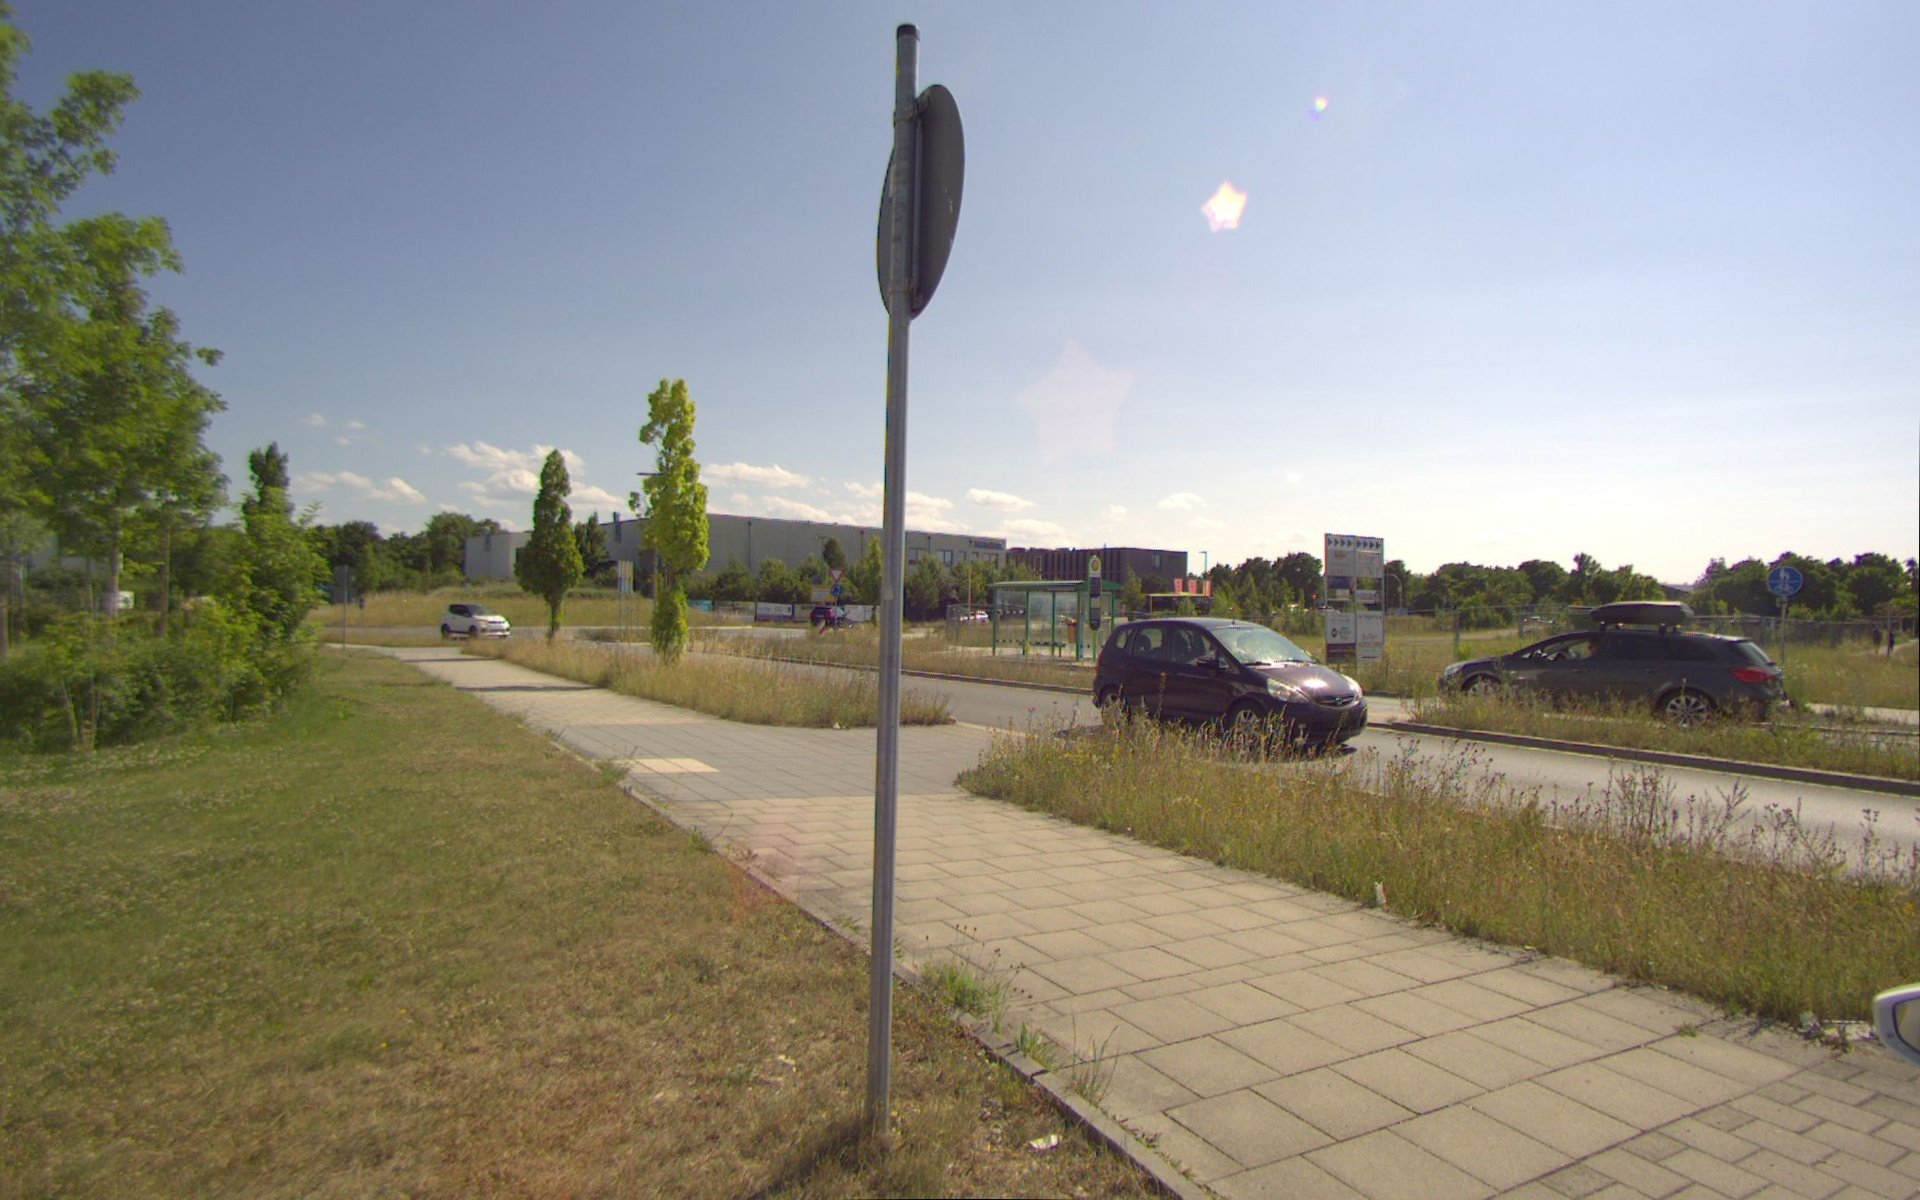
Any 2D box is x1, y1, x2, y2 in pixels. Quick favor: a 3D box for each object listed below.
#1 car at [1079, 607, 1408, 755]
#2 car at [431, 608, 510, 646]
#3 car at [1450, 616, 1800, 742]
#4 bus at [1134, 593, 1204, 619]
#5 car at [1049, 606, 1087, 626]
[{"bbox_3d":[3.512,0.916,13.090,1.978,1.571,3.810,1,0,-31],"label":"car"},{"bbox_3d":[-20.547,1.110,42.180,2.945,1.510,1.478,0,0,26],"label":"car"},{"bbox_3d":[10.094,1.093,15.459,1.986,1.537,4.142,2,0,-44],"label":"car"},{"bbox_3d":[24.145,0.707,115.370,2.543,2.772,11.508,2,0,41],"label":"bus"},{"bbox_3d":[10.880,1.637,101.189,1.803,1.884,3.977,2,0,43],"label":"car"}]
